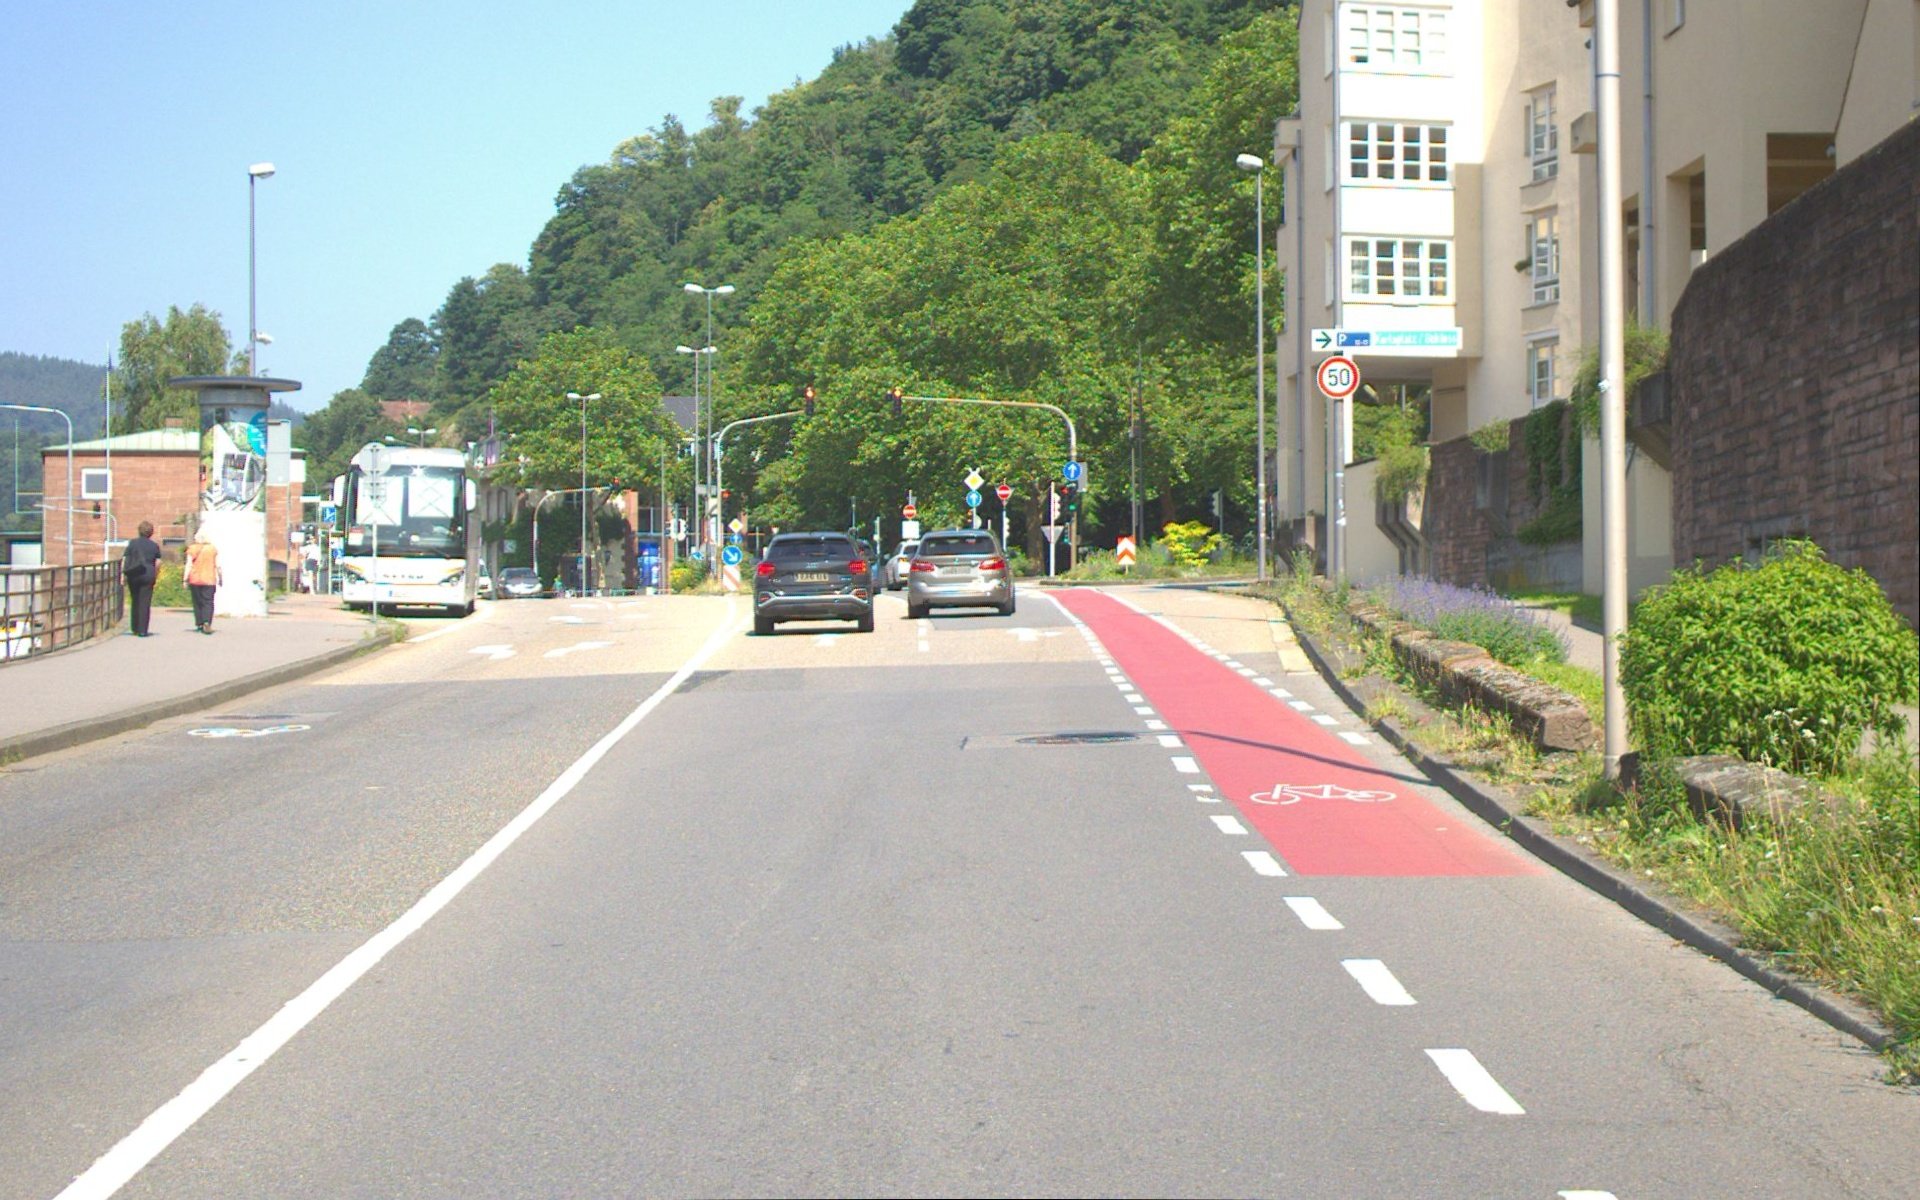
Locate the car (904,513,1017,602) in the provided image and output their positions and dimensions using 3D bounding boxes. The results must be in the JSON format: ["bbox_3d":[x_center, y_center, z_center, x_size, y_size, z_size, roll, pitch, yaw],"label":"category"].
[{"bbox_3d":[-0.028,-0.745,60.974,1.888,1.516,4.306,0,0,-1],"label":"car"}]

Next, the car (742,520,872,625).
[{"bbox_3d":[-2.267,-0.413,51.927,1.869,1.508,4.151,0,0,-1],"label":"car"}]

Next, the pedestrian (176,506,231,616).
[{"bbox_3d":[-11.281,-0.582,51.291,0.702,1.615,0.817,0,0,-6],"label":"pedestrian"}]

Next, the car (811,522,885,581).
[{"bbox_3d":[-3.103,-1.335,94.388,1.866,1.557,4.001,-1,1,-4],"label":"car"}]

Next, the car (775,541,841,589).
[{"bbox_3d":[-4.571,-1.064,102.998,1.866,1.354,4.001,-1,1,-4],"label":"car"}]

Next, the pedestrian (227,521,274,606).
[{"bbox_3d":[-15.109,-0.779,73.200,0.892,1.790,1.041,0,0,-7],"label":"pedestrian"}]

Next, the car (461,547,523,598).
[{"bbox_3d":[-24.805,-1.489,182.223,2.383,2.567,6.057,-2,1,-15],"label":"car"}]

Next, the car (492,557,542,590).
[{"bbox_3d":[-20.557,-1.238,159.447,1.993,1.427,4.168,-2,1,-11],"label":"car"}]

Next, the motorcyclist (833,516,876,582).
[{"bbox_3d":[-2.739,-1.331,88.913,1.075,1.678,1.156,-1,1,-2],"label":"motorcyclist"}]

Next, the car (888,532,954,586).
[{"bbox_3d":[-1.191,-1.223,103.236,1.785,1.527,4.737,-2,1,-3],"label":"car"}]

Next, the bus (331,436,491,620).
[{"bbox_3d":[-12.193,-1.536,77.376,2.956,3.788,13.246,0,0,-7],"label":"bus"}]

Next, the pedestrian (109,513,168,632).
[{"bbox_3d":[-11.857,-0.393,49.626,0.683,1.703,0.773,0,0,-2],"label":"pedestrian"}]
